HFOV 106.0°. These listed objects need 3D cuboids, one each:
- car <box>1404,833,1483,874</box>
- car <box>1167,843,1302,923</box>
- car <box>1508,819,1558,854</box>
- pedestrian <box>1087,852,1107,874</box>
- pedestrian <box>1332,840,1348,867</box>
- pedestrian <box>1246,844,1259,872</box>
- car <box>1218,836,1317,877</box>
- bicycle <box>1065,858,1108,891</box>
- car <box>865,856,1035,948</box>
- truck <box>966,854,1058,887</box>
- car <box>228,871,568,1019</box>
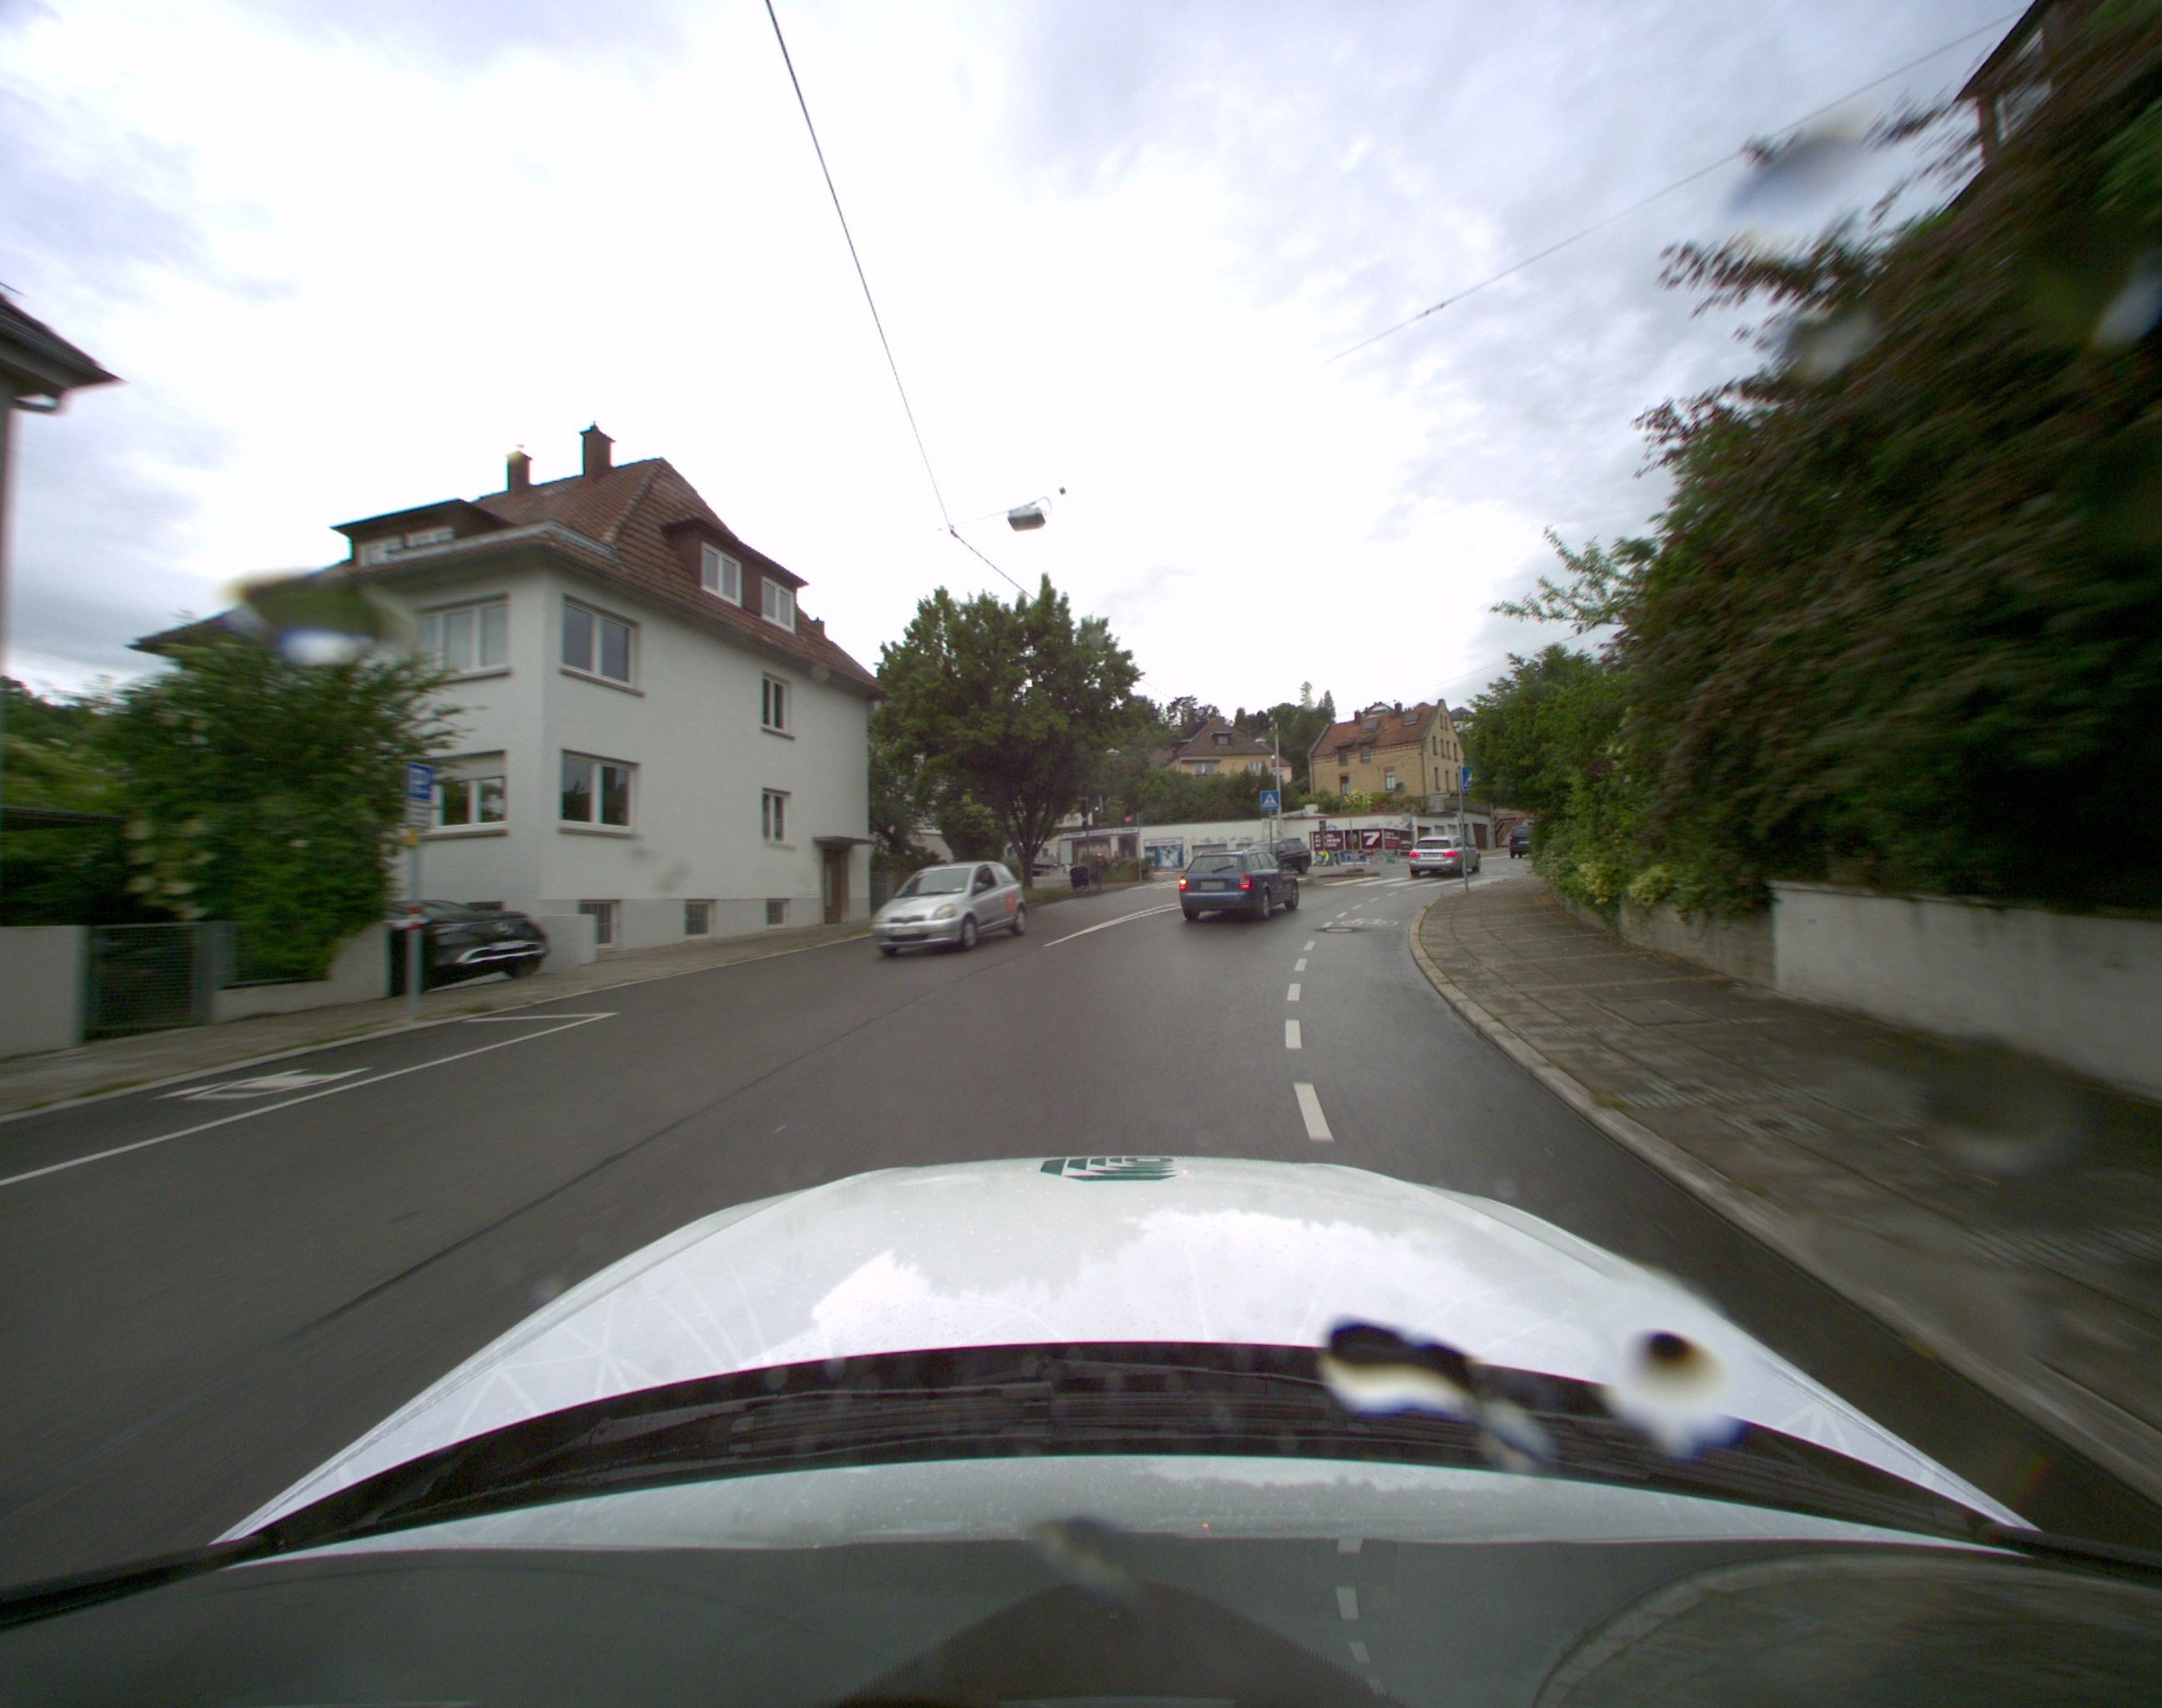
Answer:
[{"bbox_3d":[13.358,-0.057,29.882,1.793,1.360,4.026,-1,1,36],"label":"car"},{"bbox_3d":[3.464,0.551,17.770,1.794,1.439,4.106,-1,1,27],"label":"car"},{"bbox_3d":[26.024,-1.047,46.857,1.806,1.819,4.026,-3,0,38],"label":"car"},{"bbox_3d":[1.111,0.644,56.851,0.966,1.505,0.896,0,1,39],"label":"pedestrian"},{"bbox_3d":[16.644,-0.017,52.308,0.583,1.689,0.623,-4,-2,-13],"label":"pedestrian"},{"bbox_3d":[11.278,0.234,53.474,0.699,1.805,0.812,-2,0,15],"label":"pedestrian"},{"bbox_3d":[7.784,0.091,33.682,1.852,1.492,4.665,-5,-2,43],"label":"car"},{"bbox_3d":[0.237,0.775,30.852,0.416,1.085,1.976,-2,2,39],"label":"bicycle"},{"bbox_3d":[-2.229,0.769,14.949,1.475,1.423,3.874,-1,0,17],"label":"car"},{"bbox_3d":[-5.015,1.162,58.577,6.721,2.269,2.329,-1,0,36],"label":"truck"},{"bbox_3d":[-10.746,1.408,12.901,4.208,1.623,2.009,-9,-3,16],"label":"car"}]
